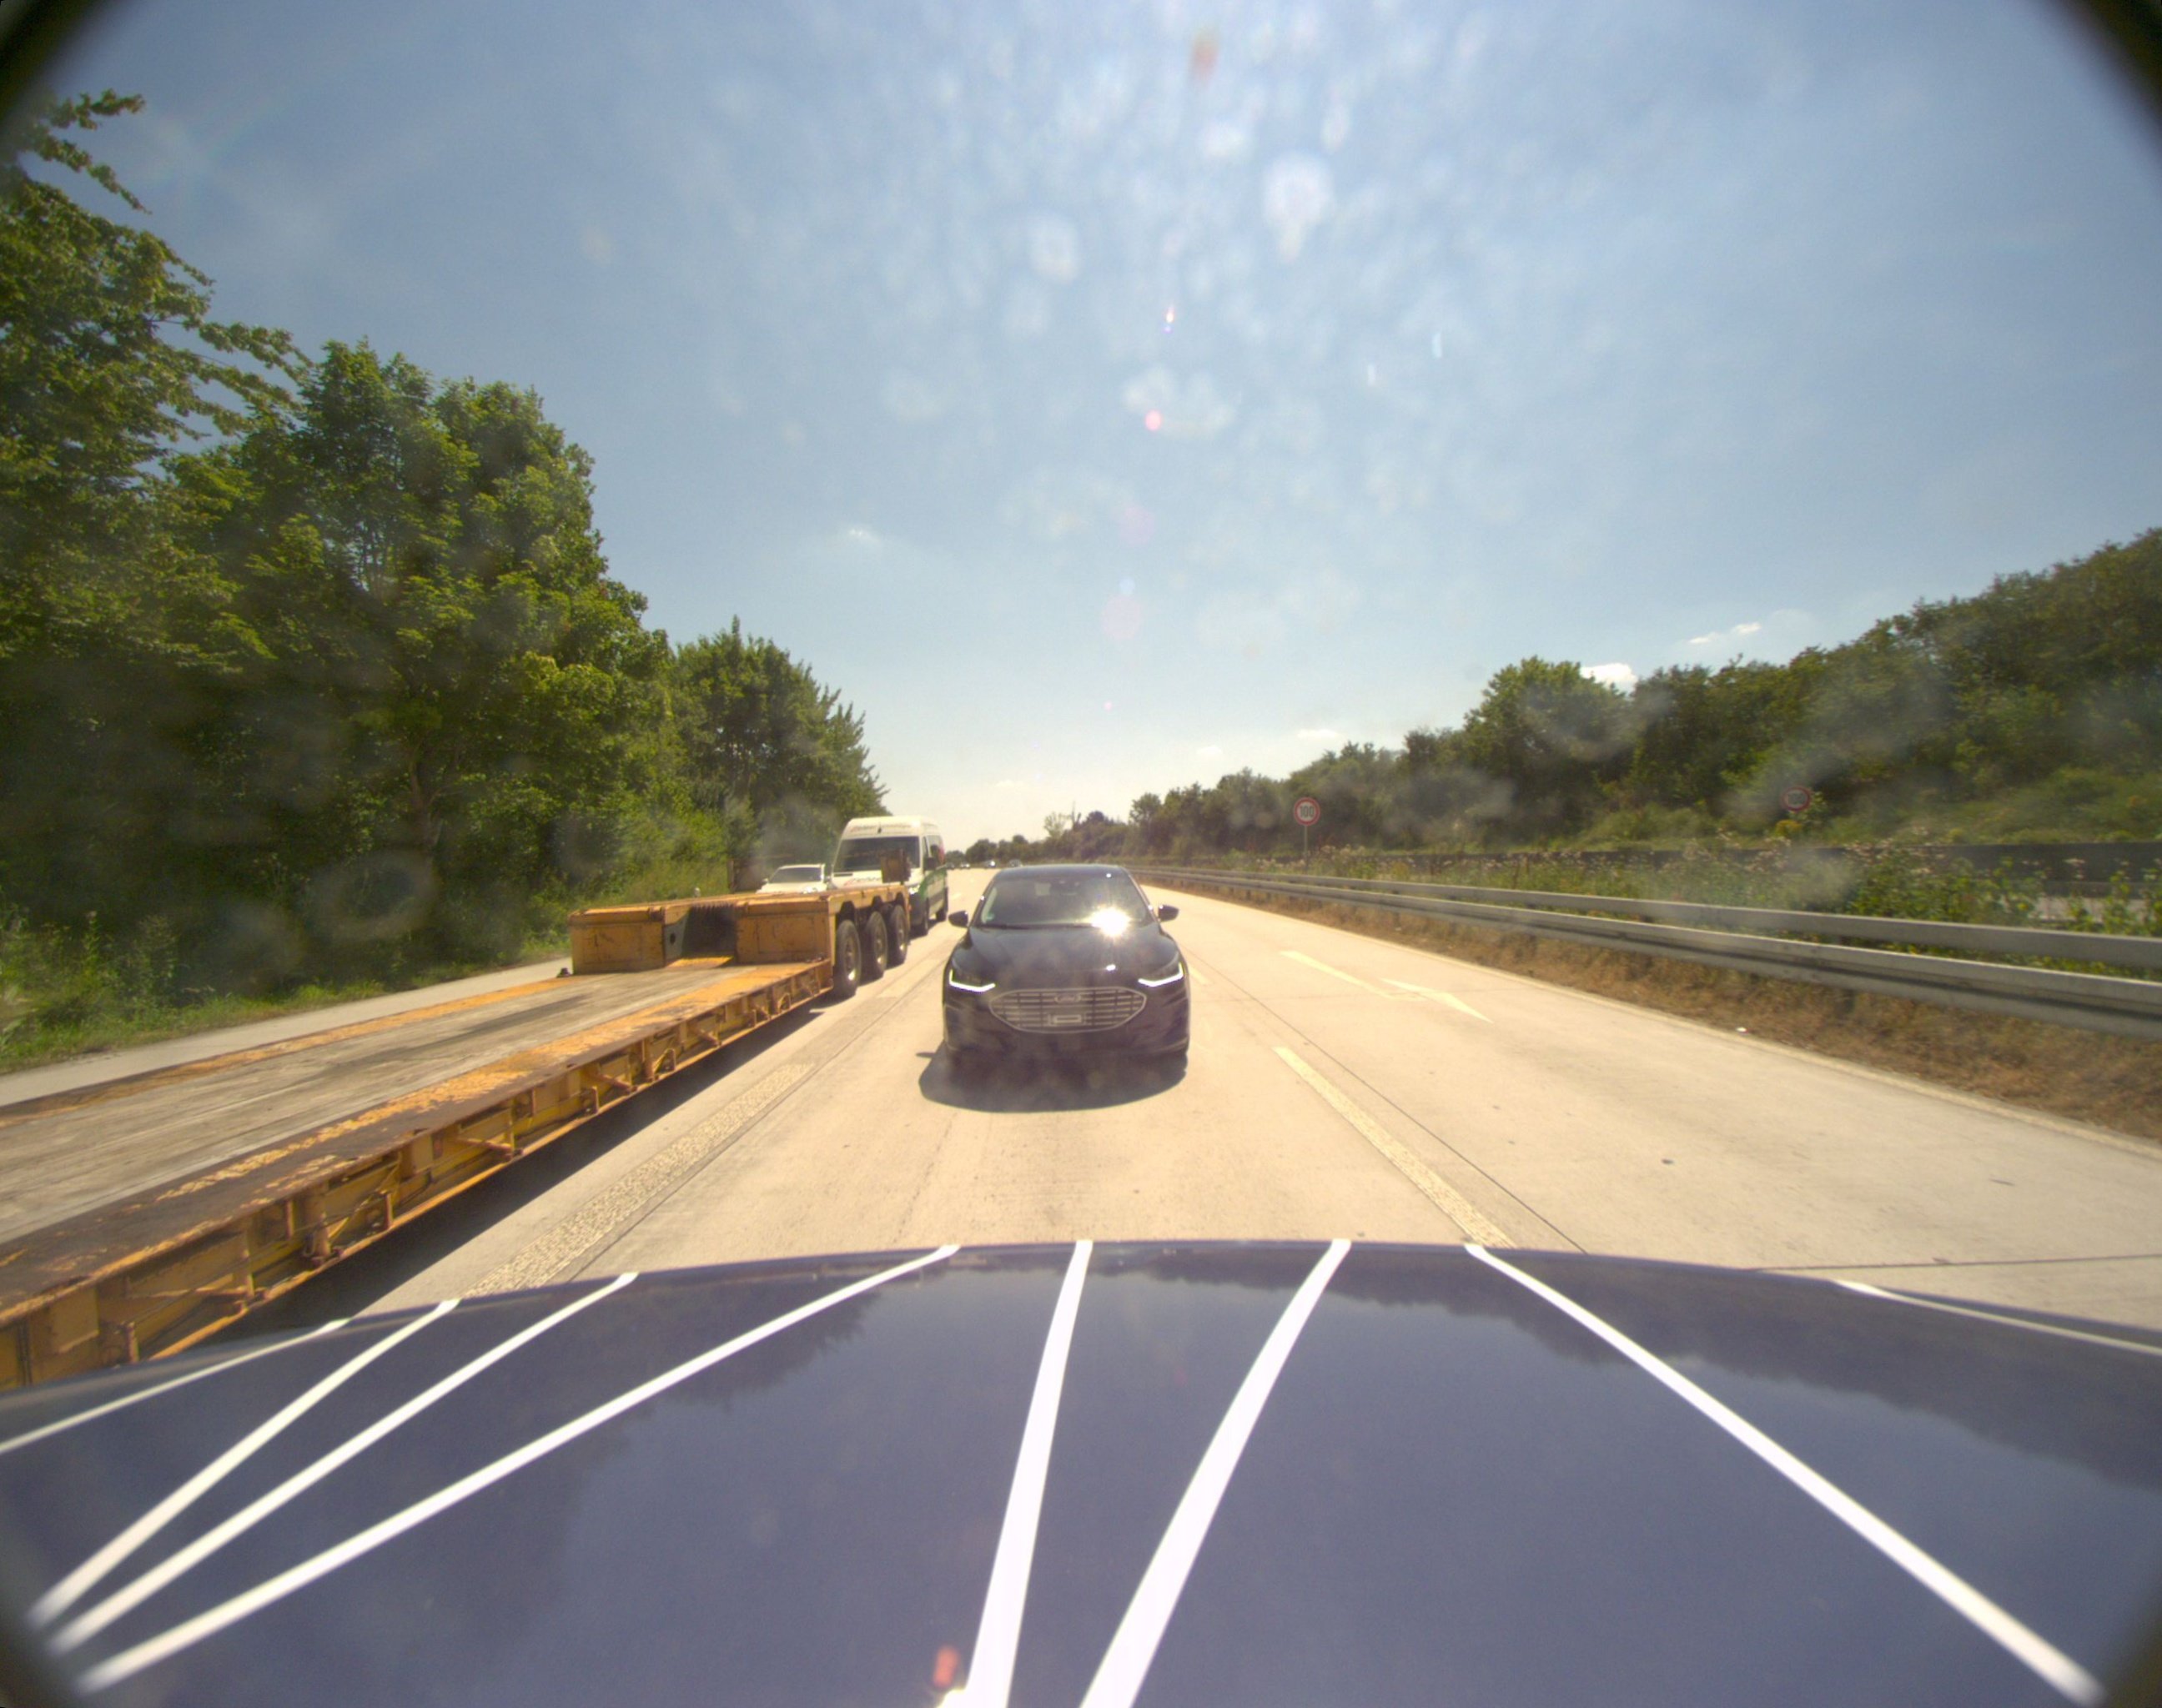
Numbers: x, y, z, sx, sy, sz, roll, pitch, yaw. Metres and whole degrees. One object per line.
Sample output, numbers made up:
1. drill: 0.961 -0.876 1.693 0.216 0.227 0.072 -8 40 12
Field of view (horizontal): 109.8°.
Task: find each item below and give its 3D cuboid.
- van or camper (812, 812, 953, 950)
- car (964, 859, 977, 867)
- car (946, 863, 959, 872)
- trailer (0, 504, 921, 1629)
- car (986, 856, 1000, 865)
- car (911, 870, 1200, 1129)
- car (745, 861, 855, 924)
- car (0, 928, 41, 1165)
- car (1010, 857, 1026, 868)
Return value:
1. van or camper: -4.296 0.491 17.536 2.069 2.559 5.904 -2 1 -5
2. car: -22.047 1.738 151.314 1.893 1.456 3.993 -2 1 -19
3. car: -23.780 2.423 140.425 1.775 1.552 4.361 -2 1 -19
4. trailer: -4.028 0.519 3.816 3.035 2.578 16.355 -2 0 0
5. car: -16.286 1.160 140.702 1.708 1.456 3.994 -2 1 -17
6. car: -0.128 0.947 6.838 1.731 1.430 4.304 -2 0 1
7. car: -8.124 1.043 22.420 1.772 1.552 4.366 -2 1 -3
8. car: -7.573 1.251 2.568 1.772 1.454 4.597 -2 1 -1
9. car: -9.025 1.148 108.174 1.629 1.476 3.995 -2 1 -14
